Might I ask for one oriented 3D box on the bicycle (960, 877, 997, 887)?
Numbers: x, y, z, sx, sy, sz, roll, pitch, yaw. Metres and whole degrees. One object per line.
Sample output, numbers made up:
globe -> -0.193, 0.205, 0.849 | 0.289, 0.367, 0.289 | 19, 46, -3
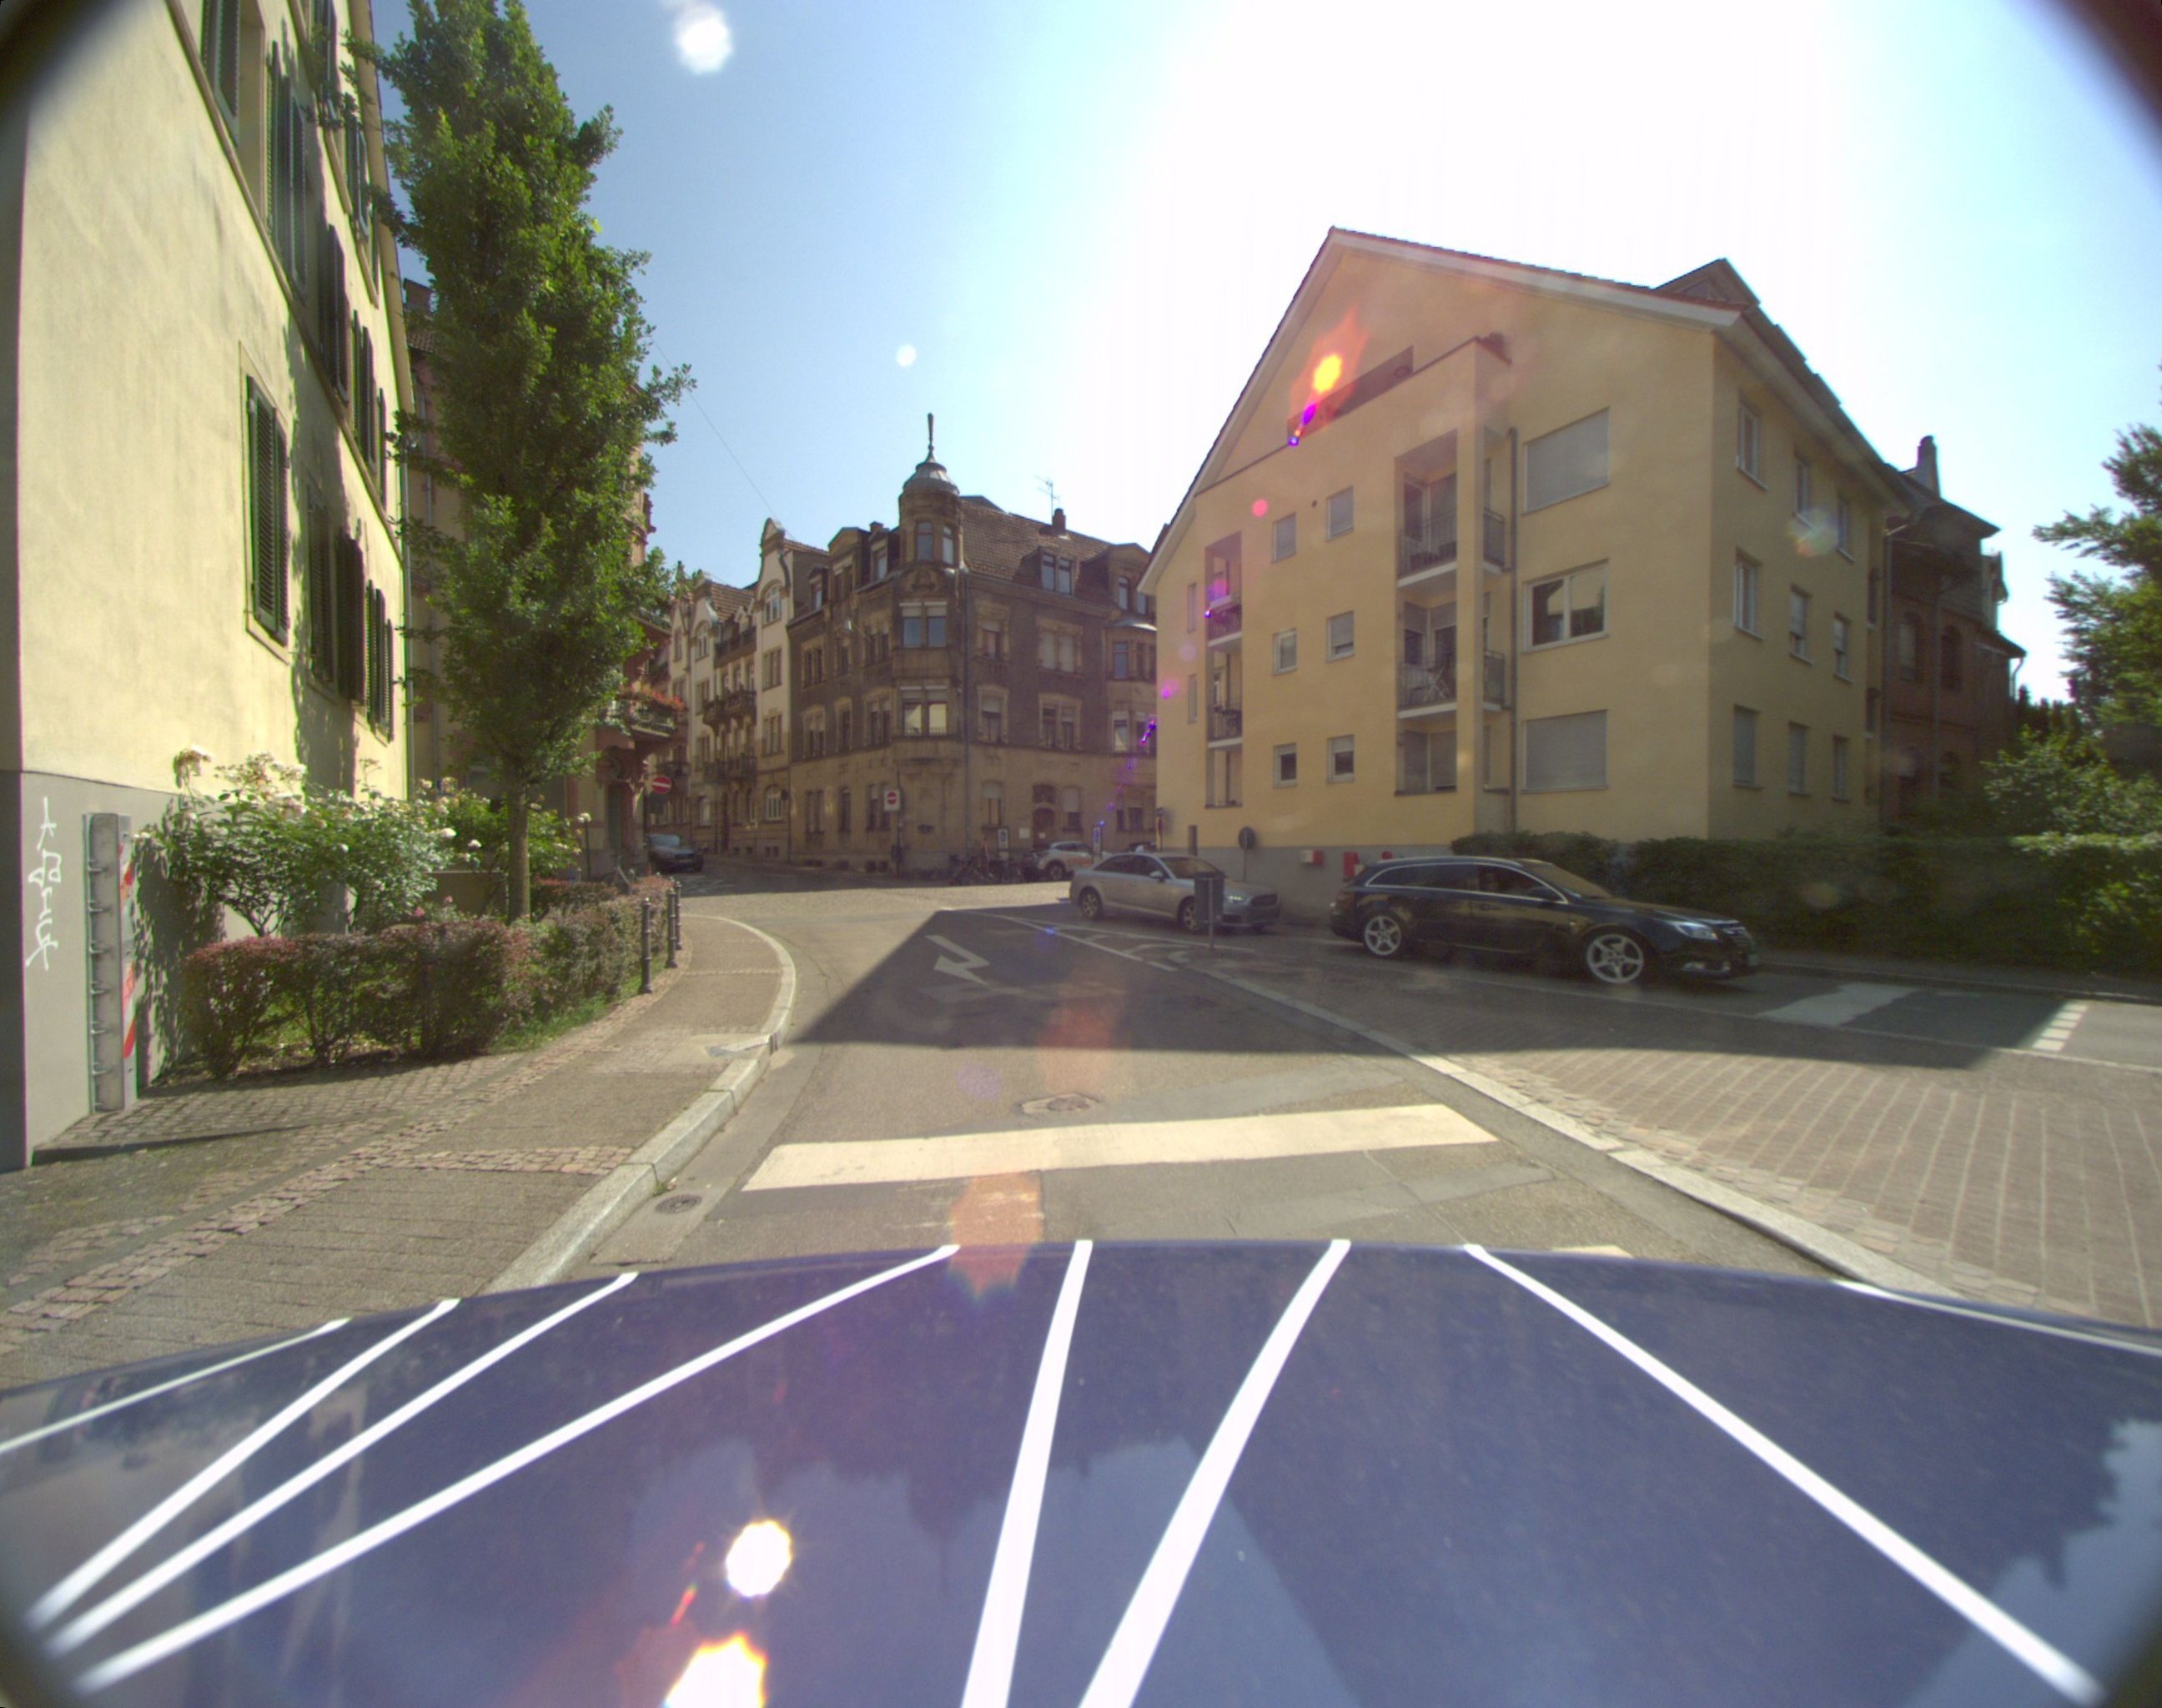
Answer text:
bicycle -> -3.729, 1.017, 27.614 | 1.080, 0.286, 1.121 | 0, 1, -22

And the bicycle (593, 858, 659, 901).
bicycle -> -12.736, 0.696, 21.267 | 1.789, 1.140, 0.506 | 1, 1, 18

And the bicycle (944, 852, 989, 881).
bicycle -> -4.494, 0.482, 29.902 | 1.645, 1.080, 0.494 | 0, 5, -36

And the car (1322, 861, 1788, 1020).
car -> 5.645, 0.871, 9.702 | 1.723, 1.453, 4.711 | 2, 0, -38

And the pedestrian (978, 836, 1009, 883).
pedestrian -> -3.406, 0.192, 29.637 | 0.982, 1.749, 0.621 | -2, 6, -37

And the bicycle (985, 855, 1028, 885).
bicycle -> -2.751, 0.607, 28.042 | 1.638, 1.079, 0.286 | -2, -2, 26

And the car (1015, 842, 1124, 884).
car -> -0.421, 0.317, 29.937 | 3.936, 1.535, 1.847 | -1, 1, -37

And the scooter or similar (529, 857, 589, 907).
scooter or similar -> -13.527, 0.701, 19.712 | 0.441, 1.228, 1.193 | 1, 2, 40

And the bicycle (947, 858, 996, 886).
bicycle -> -4.011, 0.645, 27.884 | 1.637, 1.084, 0.285 | 2, 46, 43

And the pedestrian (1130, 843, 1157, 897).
pedestrian -> 1.932, 0.481, 23.445 | 0.658, 1.609, 0.492 | -1, 2, -24

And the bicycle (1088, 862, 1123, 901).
bicycle -> 0.715, 0.797, 22.493 | 0.392, 1.073, 1.906 | 0, 1, -19

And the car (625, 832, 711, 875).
car -> -17.141, -0.080, 31.460 | 4.246, 1.574, 1.866 | 3, 5, 43

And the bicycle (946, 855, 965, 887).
bicycle -> -4.543, 0.600, 27.513 | 0.286, 1.080, 1.639 | -4, 3, -22

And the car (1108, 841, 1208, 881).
car -> 3.318, 0.268, 32.525 | 4.007, 1.535, 1.848 | -2, 1, -35

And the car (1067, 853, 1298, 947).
car -> 1.808, 0.762, 14.779 | 1.881, 1.484, 4.370 | -1, 1, -38

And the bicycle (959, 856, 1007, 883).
bicycle -> -3.660, 0.571, 28.235 | 1.637, 1.084, 0.285 | 2, 46, 43
